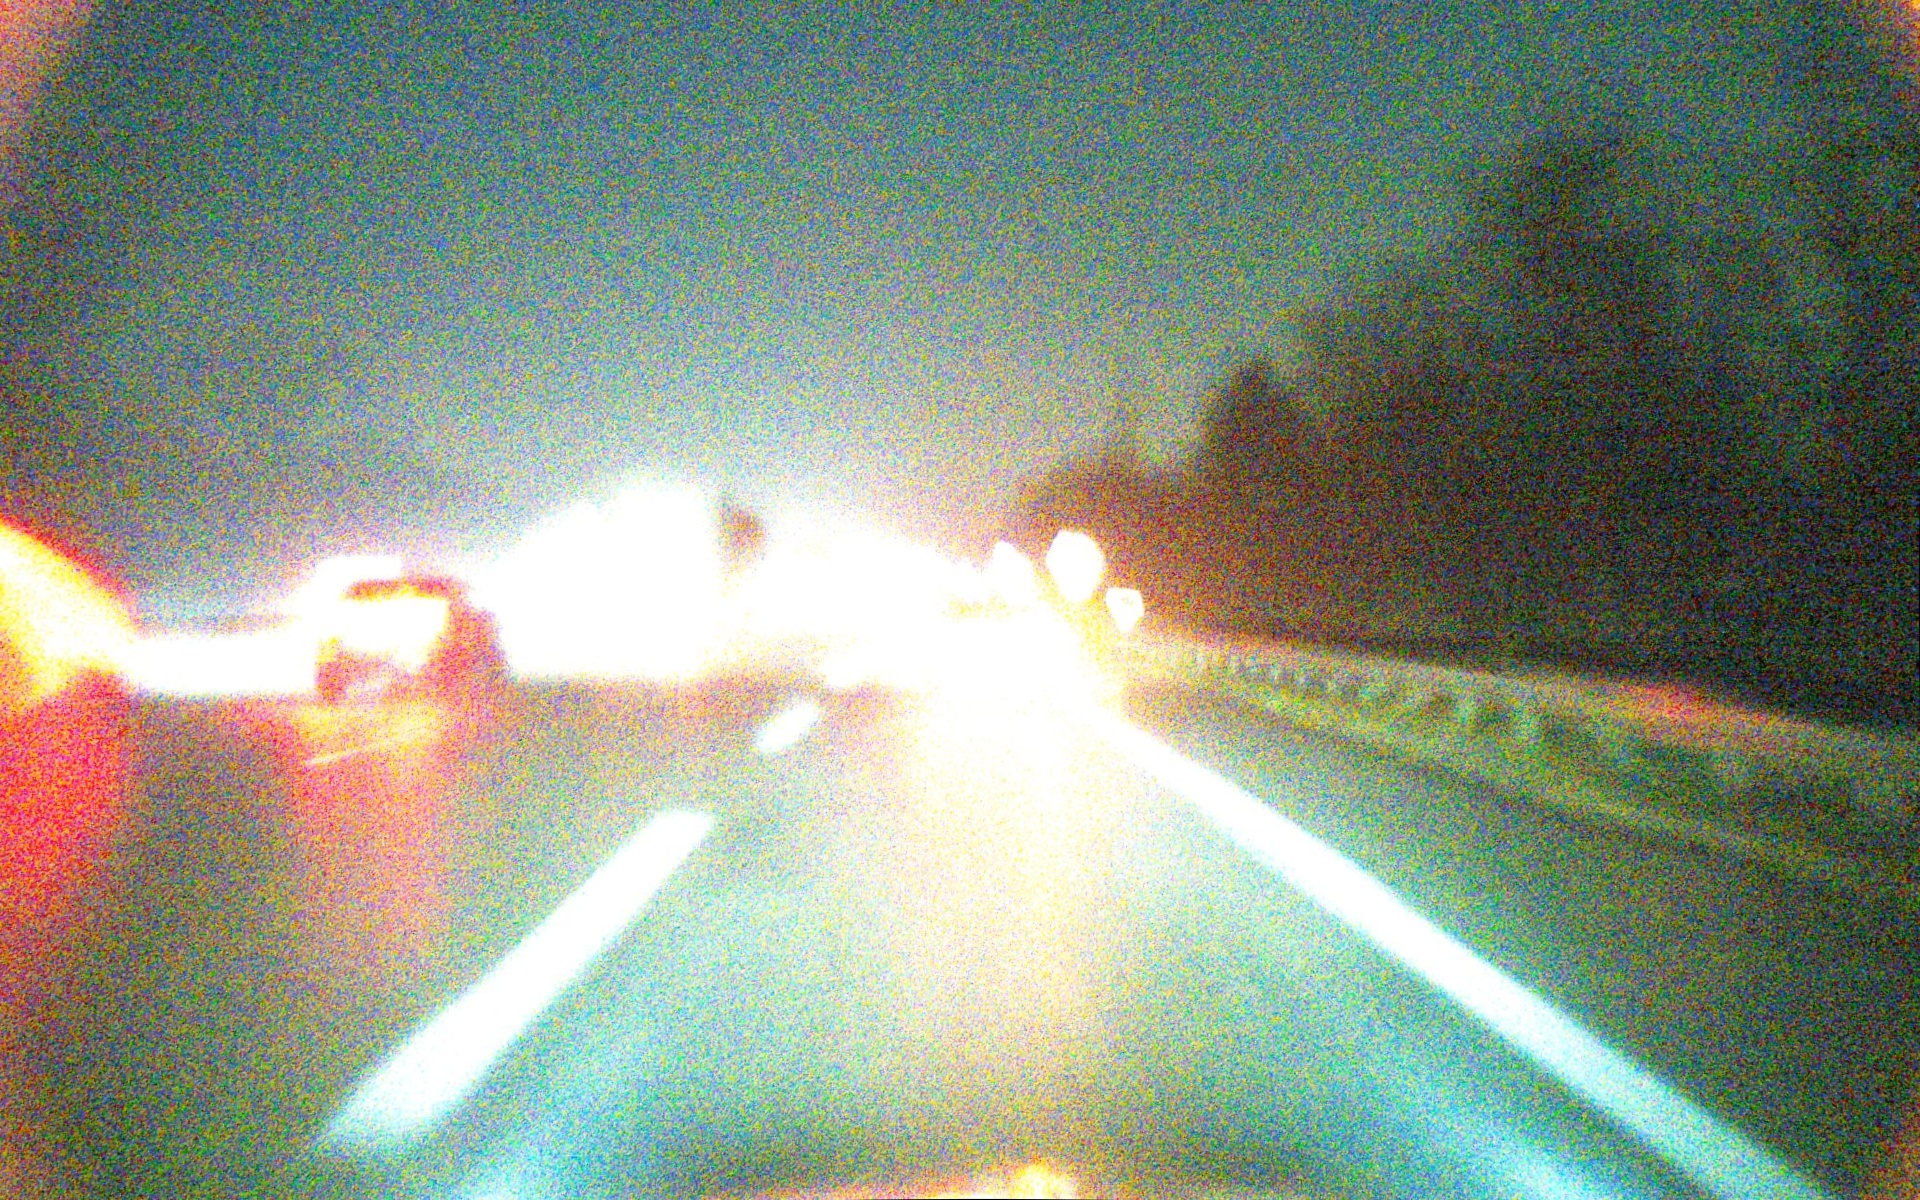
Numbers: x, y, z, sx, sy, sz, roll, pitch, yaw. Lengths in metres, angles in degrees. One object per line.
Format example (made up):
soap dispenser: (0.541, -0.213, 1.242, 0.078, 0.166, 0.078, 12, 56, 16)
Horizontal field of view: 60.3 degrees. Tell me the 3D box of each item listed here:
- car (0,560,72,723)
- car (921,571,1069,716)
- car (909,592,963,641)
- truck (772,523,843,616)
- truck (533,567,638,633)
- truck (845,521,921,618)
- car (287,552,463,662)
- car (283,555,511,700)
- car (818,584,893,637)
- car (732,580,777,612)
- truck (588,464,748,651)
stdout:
car: (-10.945, 0.430, 16.994, 1.731, 1.718, 3.997, 1, 1, -5)
car: (0.445, 0.551, 22.969, 1.839, 1.793, 4.000, 1, 0, 0)
car: (-0.889, 0.602, 62.569, 1.953, 1.733, 4.458, 1, 0, -1)
truck: (-9.652, -1.879, 105.883, 4.170, 5.539, 10.875, 1, 0, -4)
truck: (-13.793, -0.007, 61.282, 2.800, 2.239, 5.854, 1, 0, -3)
truck: (-4.557, -1.694, 96.574, 4.079, 5.306, 9.947, 1, 0, -3)
car: (-12.431, 0.121, 35.582, 2.081, 2.141, 5.625, 1, 0, -4)
car: (-7.718, 0.350, 23.156, 1.999, 1.792, 4.510, 1, 0, -6)
car: (-4.322, 0.415, 69.415, 2.775, 2.049, 5.510, 1, 0, 0)
car: (-11.586, -0.242, 93.563, 1.953, 1.733, 4.458, 1, 0, -1)
truck: (-8.255, -1.111, 48.198, 3.585, 4.820, 9.843, 1, 0, -5)
